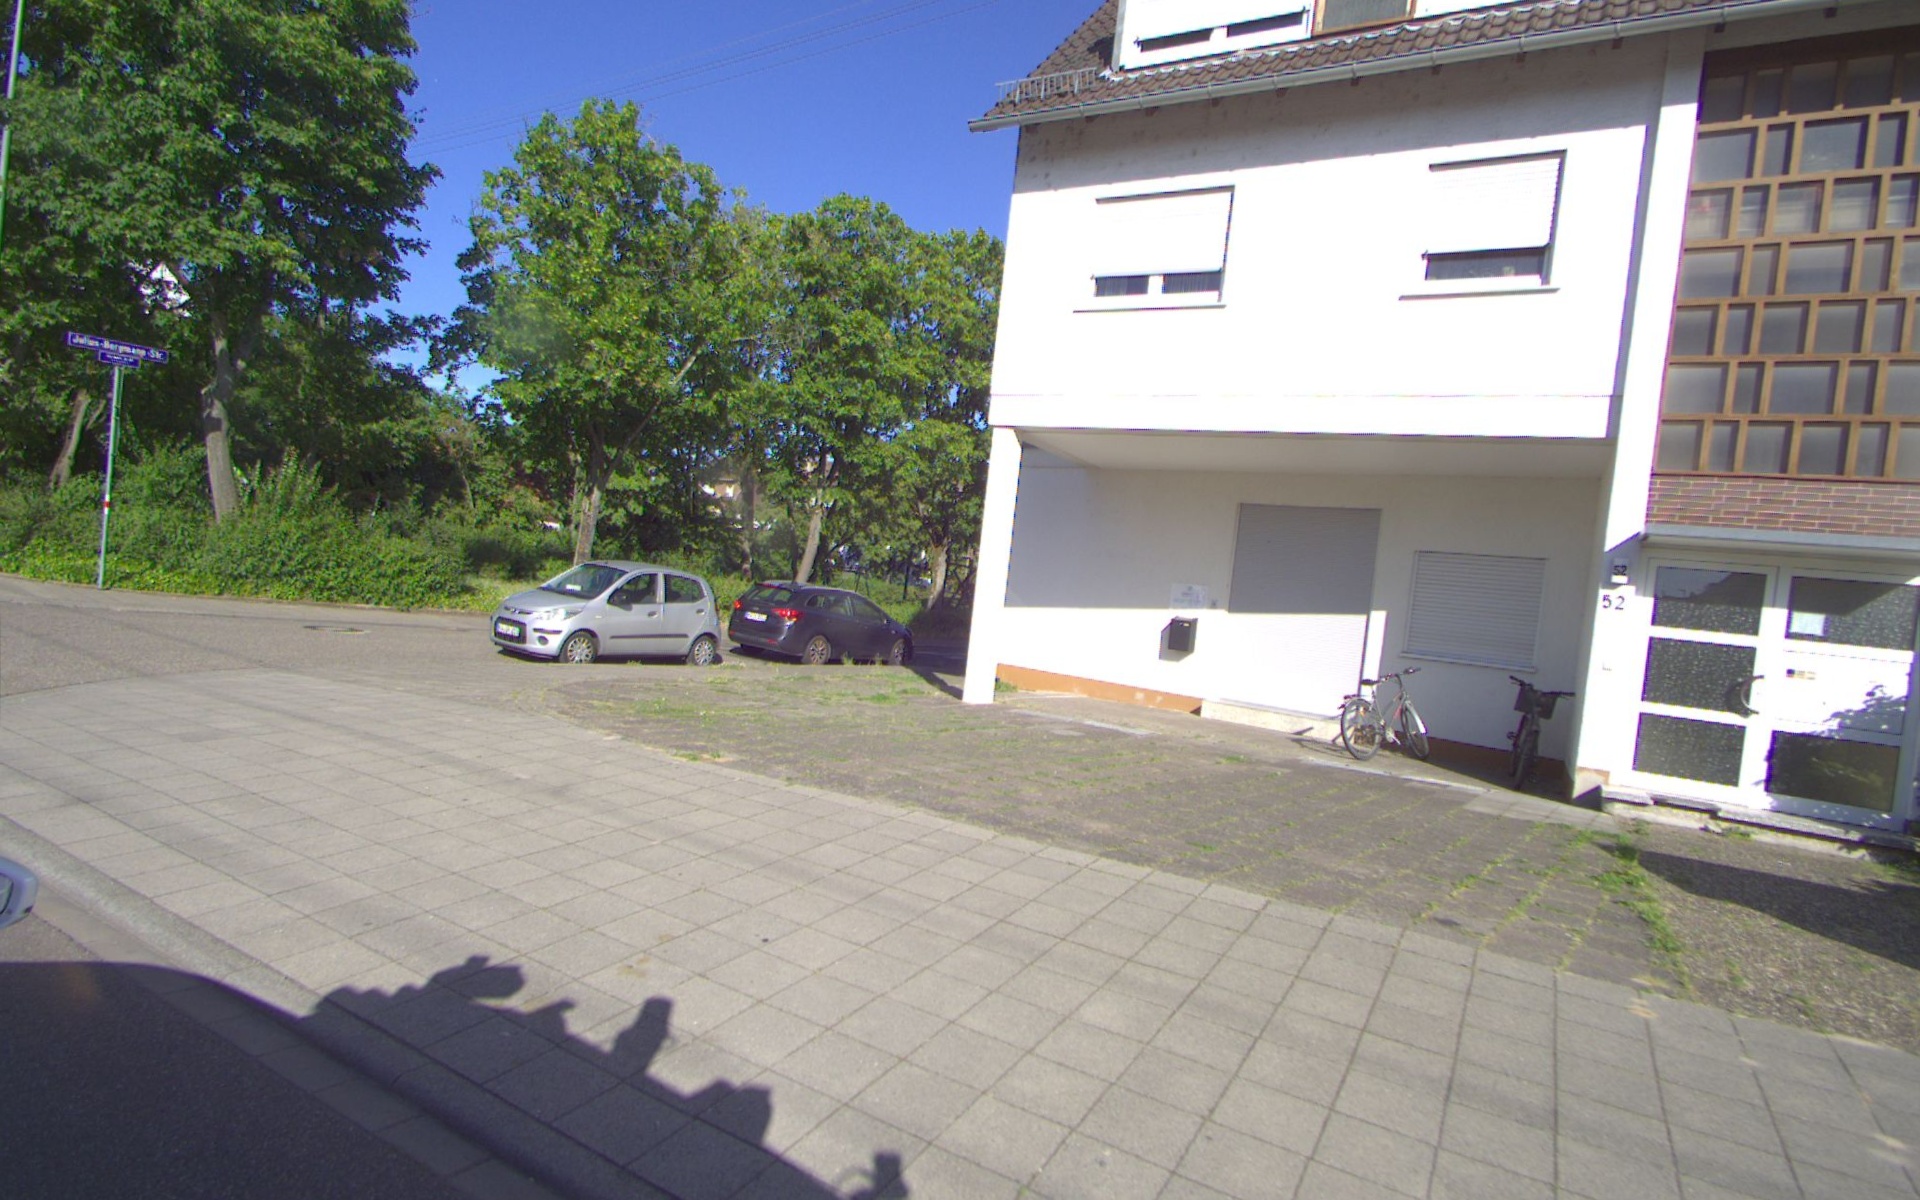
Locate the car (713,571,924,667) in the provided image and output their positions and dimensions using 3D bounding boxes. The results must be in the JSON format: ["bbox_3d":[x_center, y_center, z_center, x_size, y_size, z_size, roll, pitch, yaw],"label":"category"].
[{"bbox_3d":[-2.635,0.433,19.591,1.716,1.516,4.003,7,1,34],"label":"car"}]

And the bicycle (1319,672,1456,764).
[{"bbox_3d":[4.808,1.334,11.293,1.525,0.882,0.488,7,0,-27],"label":"bicycle"}]

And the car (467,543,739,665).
[{"bbox_3d":[-5.308,0.123,15.356,1.620,1.550,3.597,6,1,32],"label":"car"}]

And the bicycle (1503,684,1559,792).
[{"bbox_3d":[6.043,1.416,10.616,0.326,1.015,1.710,7,0,33],"label":"bicycle"}]
